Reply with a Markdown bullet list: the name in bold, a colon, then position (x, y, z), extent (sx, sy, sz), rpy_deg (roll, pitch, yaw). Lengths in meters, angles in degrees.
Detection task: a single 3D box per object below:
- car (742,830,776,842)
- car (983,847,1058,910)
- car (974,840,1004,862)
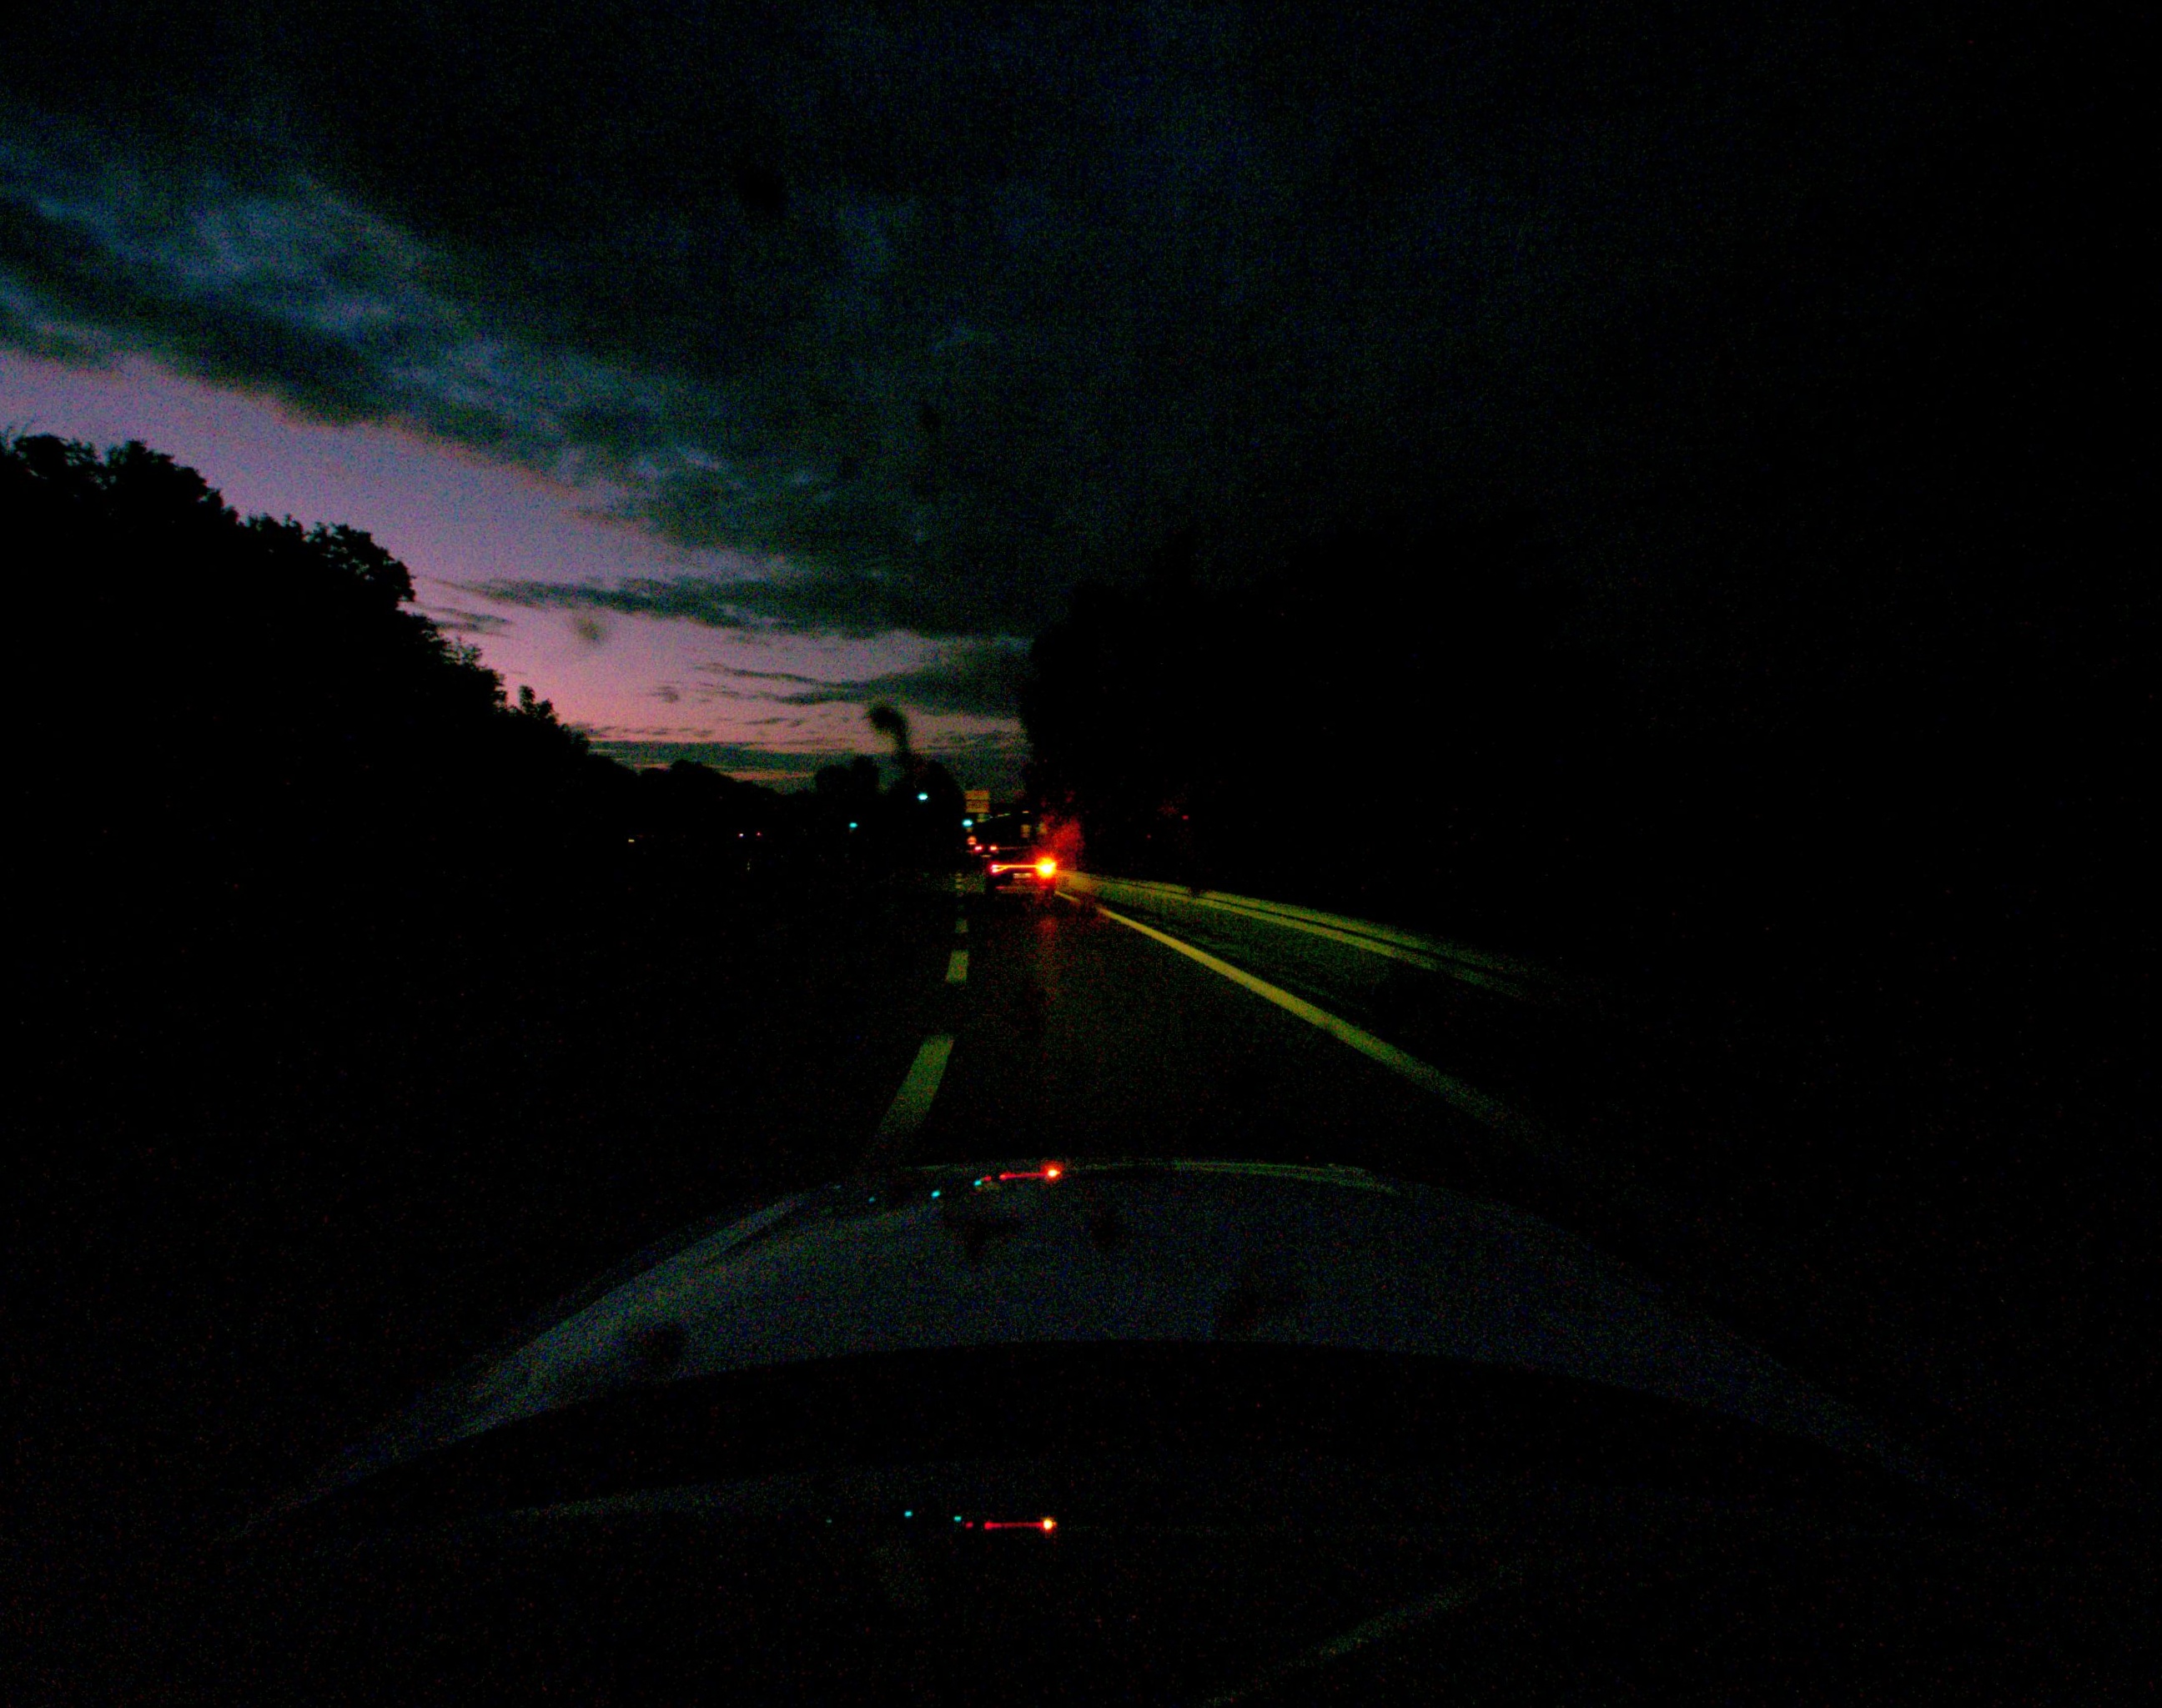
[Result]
- **car**: position (-41.119, -2.303, 104.039), extent (4.004, 1.453, 1.985), rpy_deg (1, 0, -23)
- **car**: position (-1.837, 0.622, 23.362), extent (1.899, 1.620, 4.544), rpy_deg (0, 0, -8)
- **car**: position (-7.247, -0.216, 64.525), extent (1.774, 1.653, 4.002), rpy_deg (0, -1, 2)
